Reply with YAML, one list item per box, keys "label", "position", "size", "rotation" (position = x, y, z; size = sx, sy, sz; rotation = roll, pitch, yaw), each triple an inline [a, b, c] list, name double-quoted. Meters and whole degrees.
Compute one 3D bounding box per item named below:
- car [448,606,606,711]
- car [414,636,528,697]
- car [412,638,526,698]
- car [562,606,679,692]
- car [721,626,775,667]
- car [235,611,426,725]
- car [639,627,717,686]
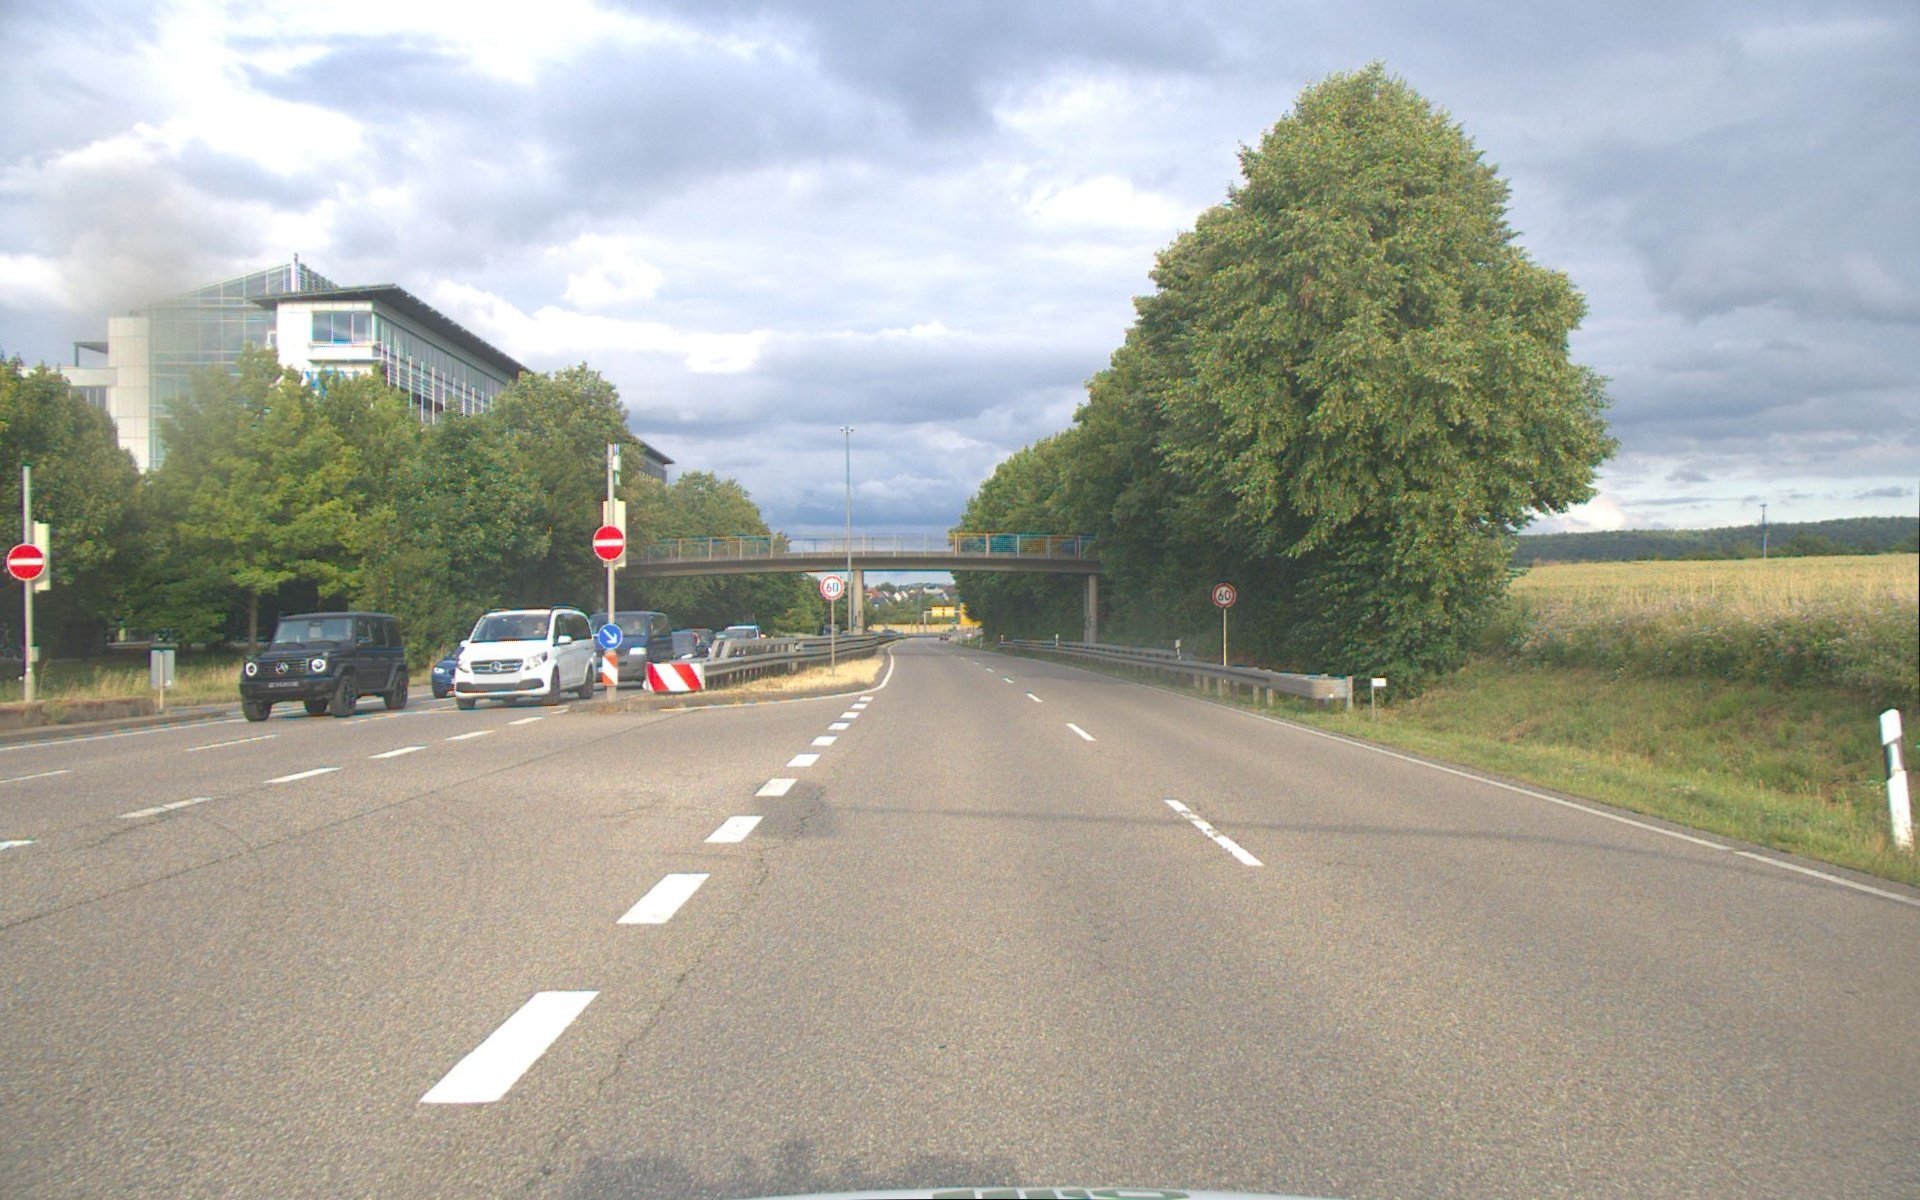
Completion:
- label: "car"
  position: [-8.708, 1.151, 33.735]
  size: [1.895, 1.905, 5.345]
  rotation: [-2, -1, -1]
- label: "car"
  position: [-12.288, 1.642, 41.786]
  size: [1.614, 1.412, 4.185]
  rotation: [-1, -1, 0]
- label: "car"
  position: [-12.318, 1.678, 41.696]
  size: [1.687, 1.262, 3.998]
  rotation: [-4, -1, -2]
- label: "car"
  position: [-8.647, 1.240, 42.522]
  size: [1.860, 1.950, 5.049]
  rotation: [-4, -1, 0]
- label: "car"
  position: [-9.064, 1.976, 71.017]
  size: [1.786, 1.612, 4.788]
  rotation: [-2, -1, -2]
- label: "car"
  position: [-12.324, 1.287, 32.765]
  size: [1.895, 2.025, 5.089]
  rotation: [-2, -1, -1]
- label: "car"
  position: [-8.544, 1.684, 50.387]
  size: [1.678, 1.617, 4.552]
  rotation: [-2, 0, -2]
